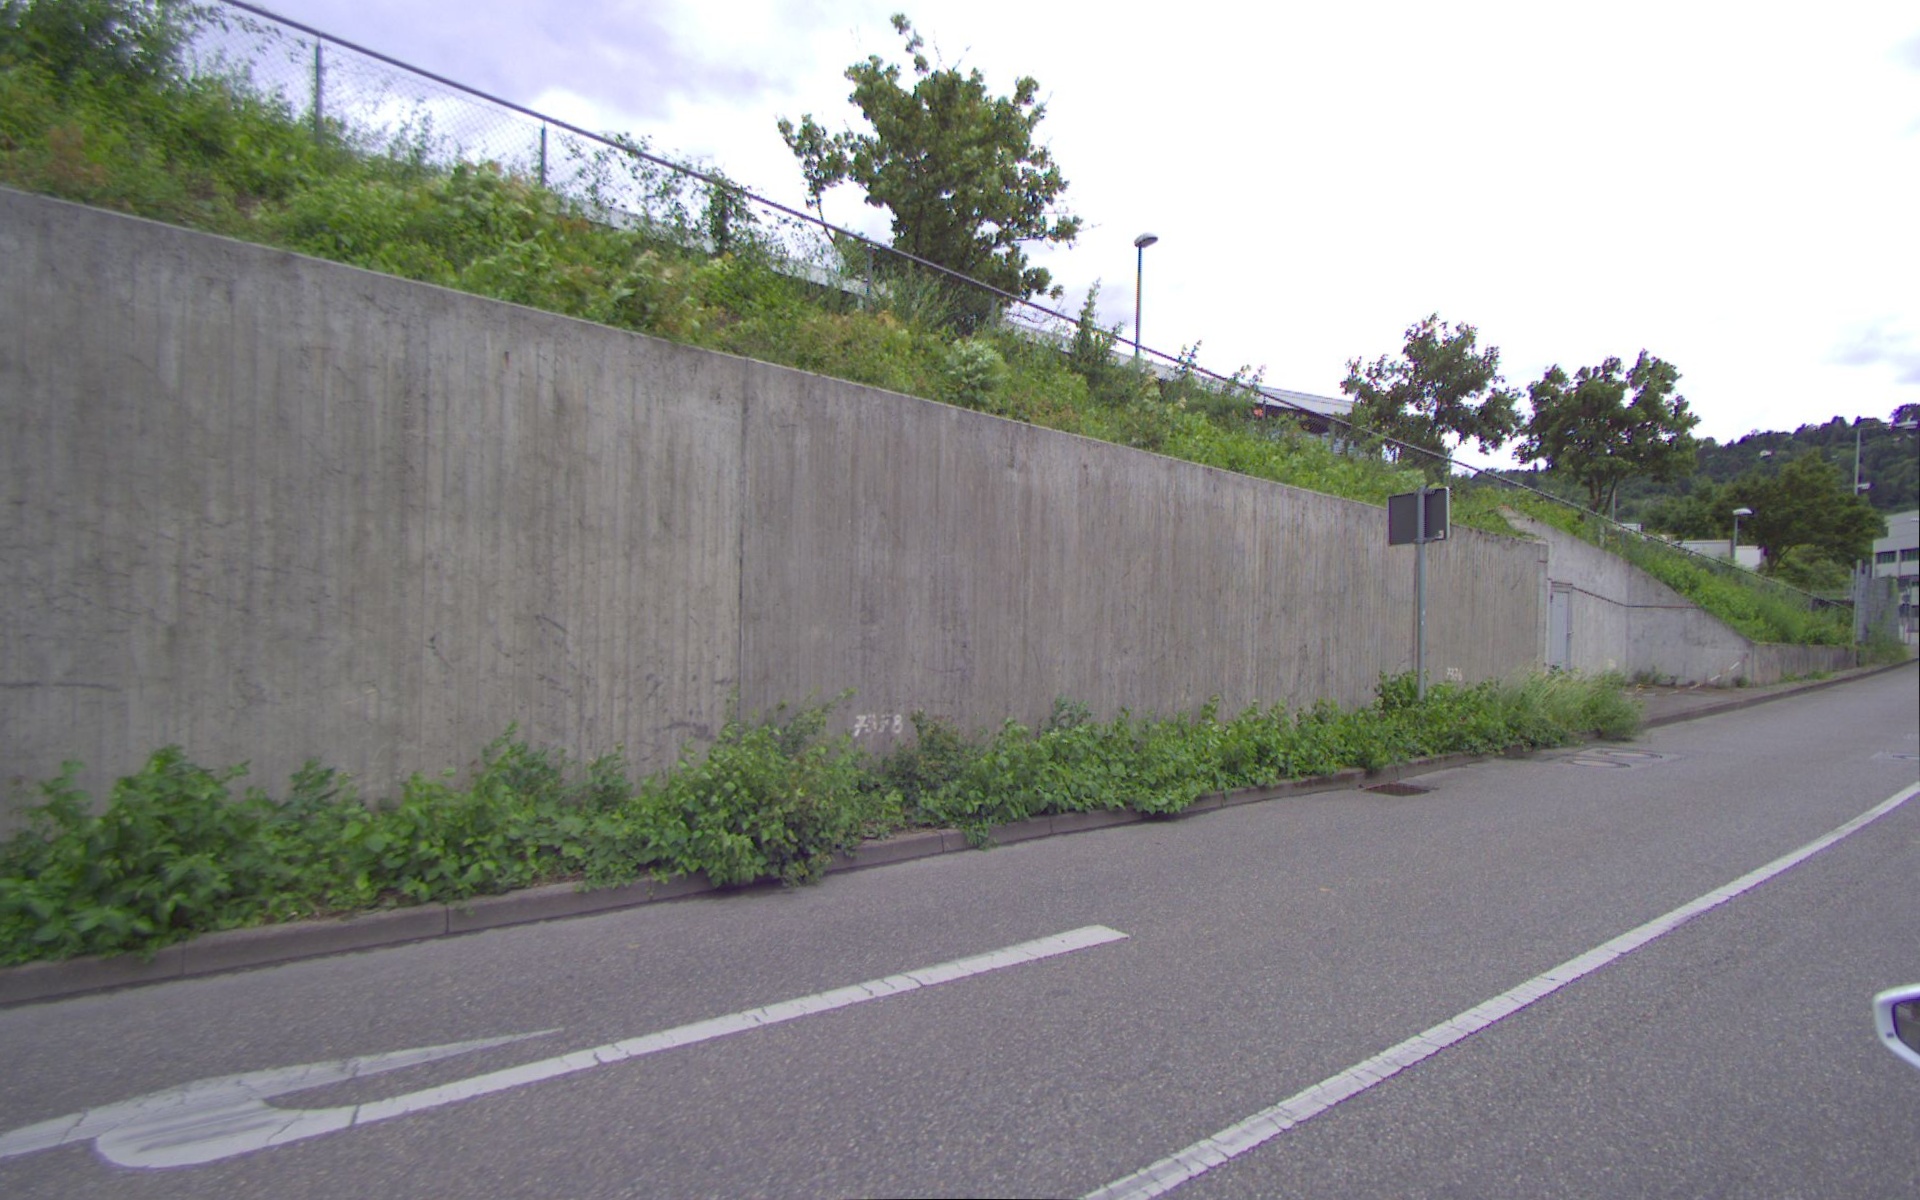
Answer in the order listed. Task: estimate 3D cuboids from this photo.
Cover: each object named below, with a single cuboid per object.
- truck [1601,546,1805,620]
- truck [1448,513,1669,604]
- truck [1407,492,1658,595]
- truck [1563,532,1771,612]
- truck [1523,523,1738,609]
[{"bbox_3d":[44.256,-1.042,60.175,9.502,4.043,3.040,2,-1,39],"label":"truck"},{"bbox_3d":[25.670,-1.798,43.586,7.712,3.585,3.053,2,-1,21],"label":"truck"},{"bbox_3d":[21.971,-2.190,39.144,7.995,3.585,3.053,2,-1,21],"label":"truck"},{"bbox_3d":[34.162,-1.369,48.977,7.714,3.585,3.052,2,-1,22],"label":"truck"},{"bbox_3d":[30.419,-1.574,46.055,7.718,3.585,3.050,2,-1,26],"label":"truck"}]
